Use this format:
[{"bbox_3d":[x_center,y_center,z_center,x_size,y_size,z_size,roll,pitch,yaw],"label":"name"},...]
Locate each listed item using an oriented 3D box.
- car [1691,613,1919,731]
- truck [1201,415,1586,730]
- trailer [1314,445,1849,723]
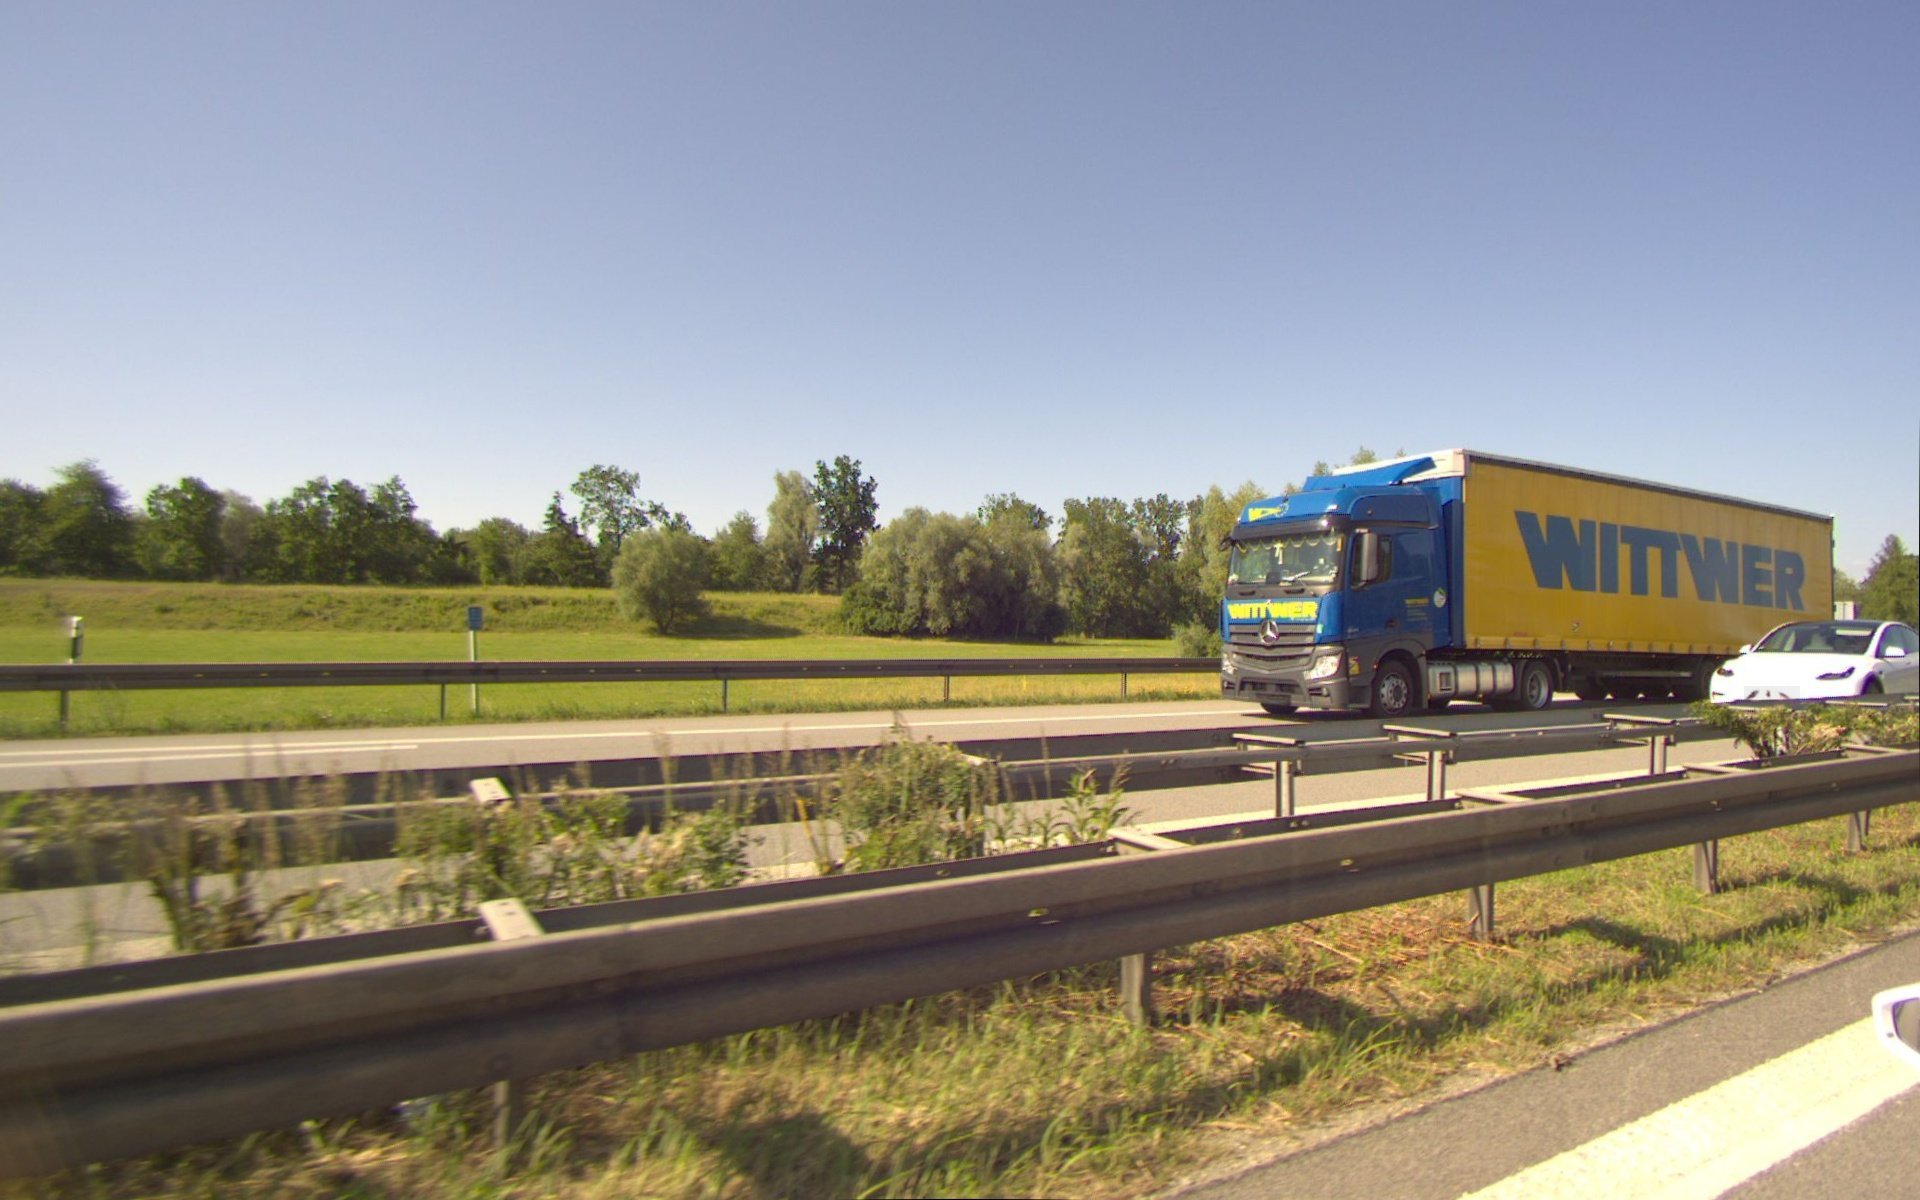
[{"bbox_3d":[14.114,1.108,16.296,4.579,1.687,1.984,2,-2,-30],"label":"car"},{"bbox_3d":[7.281,-0.289,16.659,6.260,4.359,2.727,2,-1,-30],"label":"truck"},{"bbox_3d":[13.044,-0.049,20.051,14.225,4.215,2.775,2,-2,-30],"label":"trailer"}]
